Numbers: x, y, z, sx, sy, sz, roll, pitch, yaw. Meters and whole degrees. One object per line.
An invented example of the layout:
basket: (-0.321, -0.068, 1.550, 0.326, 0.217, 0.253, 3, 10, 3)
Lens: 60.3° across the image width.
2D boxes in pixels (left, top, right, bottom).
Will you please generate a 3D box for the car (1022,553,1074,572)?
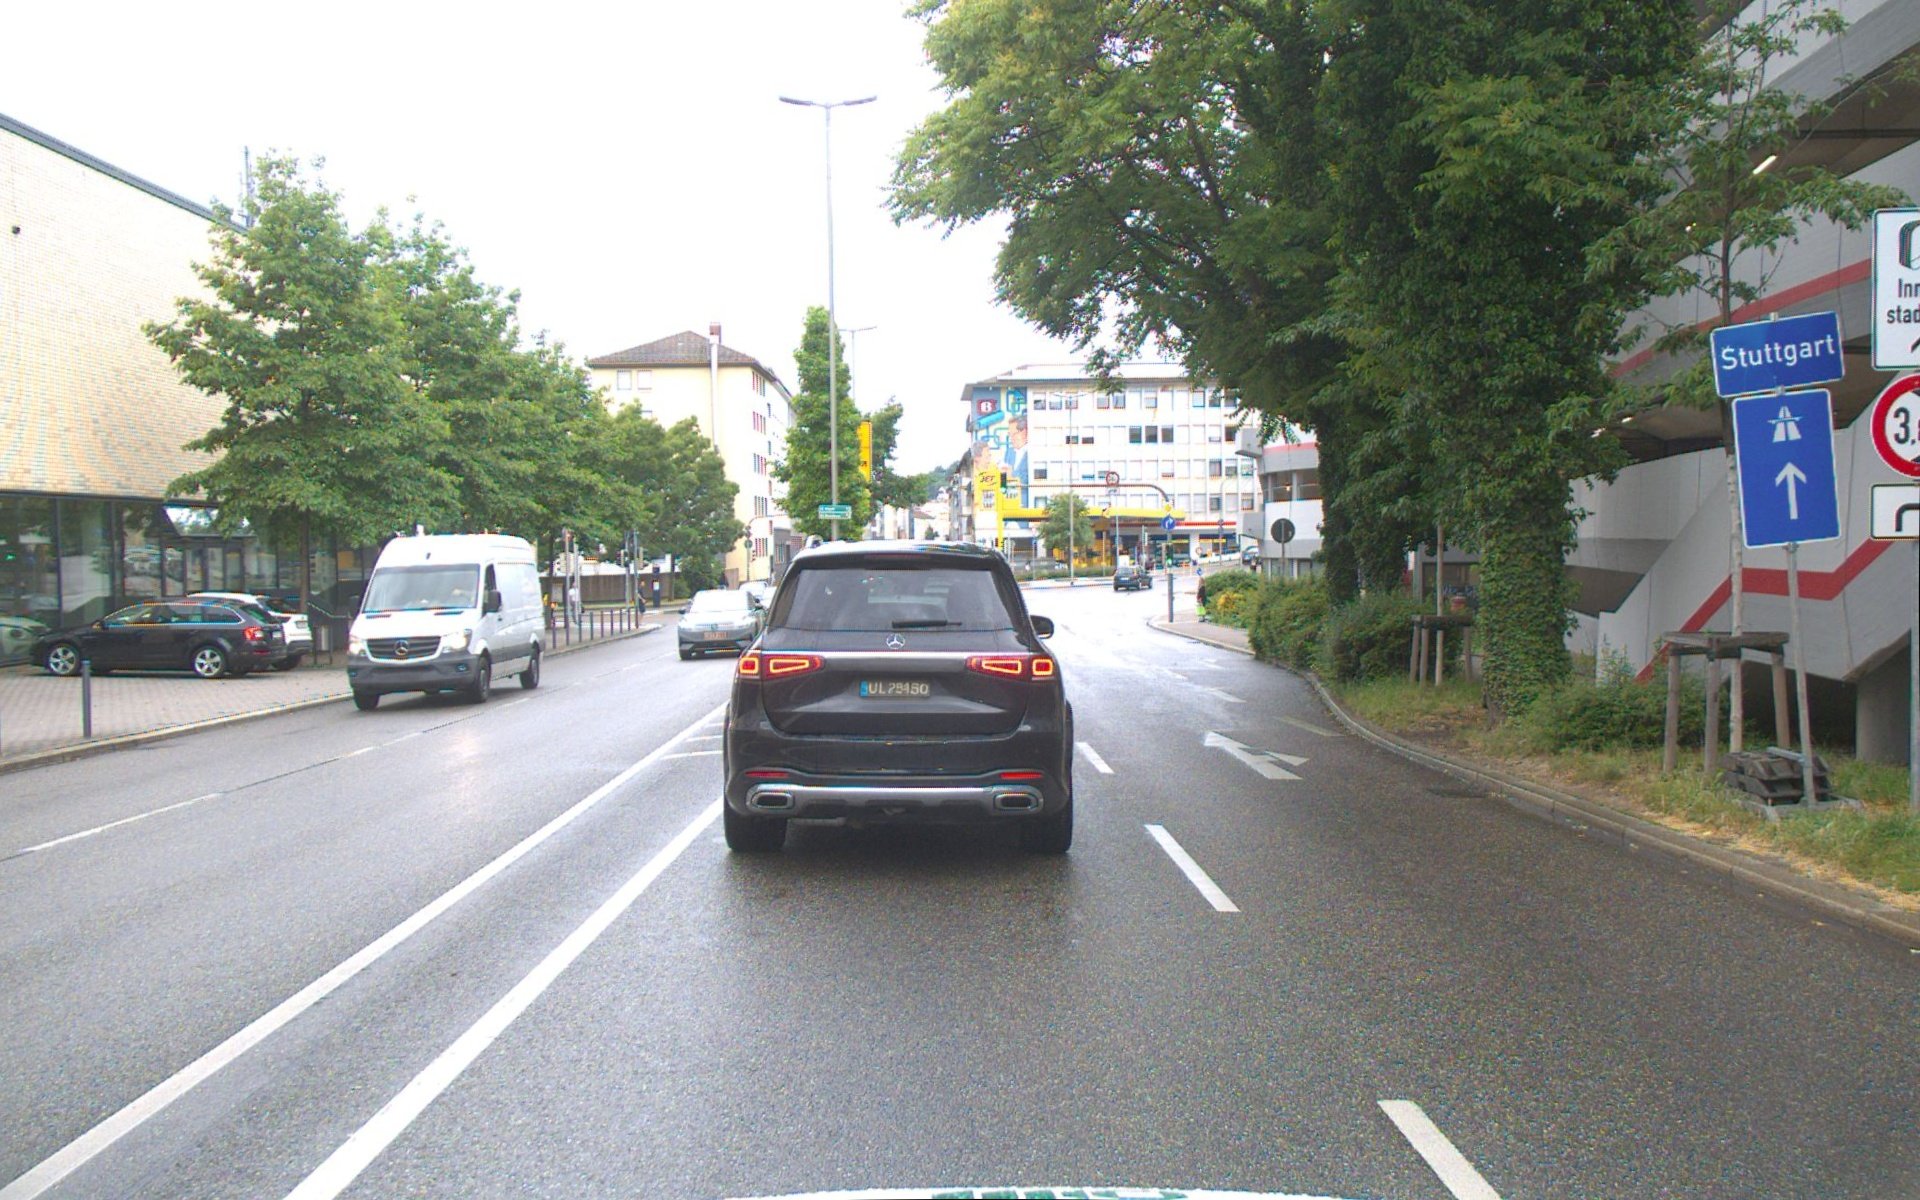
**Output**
car: (6.835, -2.892, 128.683, 1.724, 1.400, 3.935, -3, 2, -44)

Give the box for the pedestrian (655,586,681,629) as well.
pedestrian: (-12.134, 0.310, 68.699, 0.931, 1.734, 0.709, 1, -1, -18)

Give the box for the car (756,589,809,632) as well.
car: (-6.862, 0.392, 64.203, 1.776, 1.487, 4.285, -3, 0, -3)

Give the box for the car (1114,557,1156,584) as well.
car: (10.679, -1.784, 100.836, 1.758, 1.552, 4.058, 1, 1, 17)

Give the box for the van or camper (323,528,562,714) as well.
van or camper: (-8.257, 0.285, 27.078, 2.059, 2.627, 5.907, -2, 0, -1)

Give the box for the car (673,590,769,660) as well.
car: (-5.713, 0.570, 40.045, 1.846, 1.524, 4.559, -2, 0, -3)

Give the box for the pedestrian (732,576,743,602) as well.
pedestrian: (-15.262, -0.770, 113.556, 0.635, 1.757, 0.628, -2, 1, -5)

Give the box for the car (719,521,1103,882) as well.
car: (-0.279, 0.534, 10.533, 1.953, 1.832, 3.999, 1, 0, -1)

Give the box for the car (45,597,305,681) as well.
car: (-15.136, 0.747, 32.097, 4.097, 1.521, 1.997, 1, 0, -8)

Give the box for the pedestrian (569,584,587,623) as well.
pedestrian: (-16.833, 0.135, 72.820, 0.676, 1.685, 0.612, -2, 1, -8)

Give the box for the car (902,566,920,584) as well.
car: (-5.983, -3.026, 202.608, 1.953, 2.049, 4.000, 1, 0, 0)

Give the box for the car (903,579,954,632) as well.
car: (-1.274, 0.214, 66.794, 1.953, 2.049, 3.999, 1, 0, -1)

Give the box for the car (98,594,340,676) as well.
car: (-15.337, 0.708, 34.397, 4.090, 1.574, 2.000, 1, 0, 0)

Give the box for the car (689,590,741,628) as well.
car: (-10.138, 0.362, 68.709, 1.761, 1.521, 3.801, 1, 0, -3)

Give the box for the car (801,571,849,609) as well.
car: (-7.028, -0.534, 86.393, 1.852, 1.843, 4.576, -3, 0, 2)

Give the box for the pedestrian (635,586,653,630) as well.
pedestrian: (-12.897, 0.321, 67.424, 0.675, 1.788, 0.716, -1, 1, -12)

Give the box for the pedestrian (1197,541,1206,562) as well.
pedestrian: (20.037, -4.021, 137.149, 0.515, 1.757, 0.689, 0, 1, 26)

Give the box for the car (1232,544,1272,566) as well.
car: (24.524, -3.808, 138.876, 1.958, 1.735, 3.990, -1, 1, 33)

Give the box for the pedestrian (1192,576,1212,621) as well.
pedestrian: (9.587, -0.058, 65.482, 0.634, 1.740, 0.470, 0, -1, 35)

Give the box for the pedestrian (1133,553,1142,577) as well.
pedestrian: (12.939, -2.515, 120.514, 0.560, 1.727, 0.631, 1, -1, 0)

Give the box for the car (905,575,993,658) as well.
car: (-0.286, 0.387, 39.224, 1.953, 1.832, 3.999, 1, 0, -1)
